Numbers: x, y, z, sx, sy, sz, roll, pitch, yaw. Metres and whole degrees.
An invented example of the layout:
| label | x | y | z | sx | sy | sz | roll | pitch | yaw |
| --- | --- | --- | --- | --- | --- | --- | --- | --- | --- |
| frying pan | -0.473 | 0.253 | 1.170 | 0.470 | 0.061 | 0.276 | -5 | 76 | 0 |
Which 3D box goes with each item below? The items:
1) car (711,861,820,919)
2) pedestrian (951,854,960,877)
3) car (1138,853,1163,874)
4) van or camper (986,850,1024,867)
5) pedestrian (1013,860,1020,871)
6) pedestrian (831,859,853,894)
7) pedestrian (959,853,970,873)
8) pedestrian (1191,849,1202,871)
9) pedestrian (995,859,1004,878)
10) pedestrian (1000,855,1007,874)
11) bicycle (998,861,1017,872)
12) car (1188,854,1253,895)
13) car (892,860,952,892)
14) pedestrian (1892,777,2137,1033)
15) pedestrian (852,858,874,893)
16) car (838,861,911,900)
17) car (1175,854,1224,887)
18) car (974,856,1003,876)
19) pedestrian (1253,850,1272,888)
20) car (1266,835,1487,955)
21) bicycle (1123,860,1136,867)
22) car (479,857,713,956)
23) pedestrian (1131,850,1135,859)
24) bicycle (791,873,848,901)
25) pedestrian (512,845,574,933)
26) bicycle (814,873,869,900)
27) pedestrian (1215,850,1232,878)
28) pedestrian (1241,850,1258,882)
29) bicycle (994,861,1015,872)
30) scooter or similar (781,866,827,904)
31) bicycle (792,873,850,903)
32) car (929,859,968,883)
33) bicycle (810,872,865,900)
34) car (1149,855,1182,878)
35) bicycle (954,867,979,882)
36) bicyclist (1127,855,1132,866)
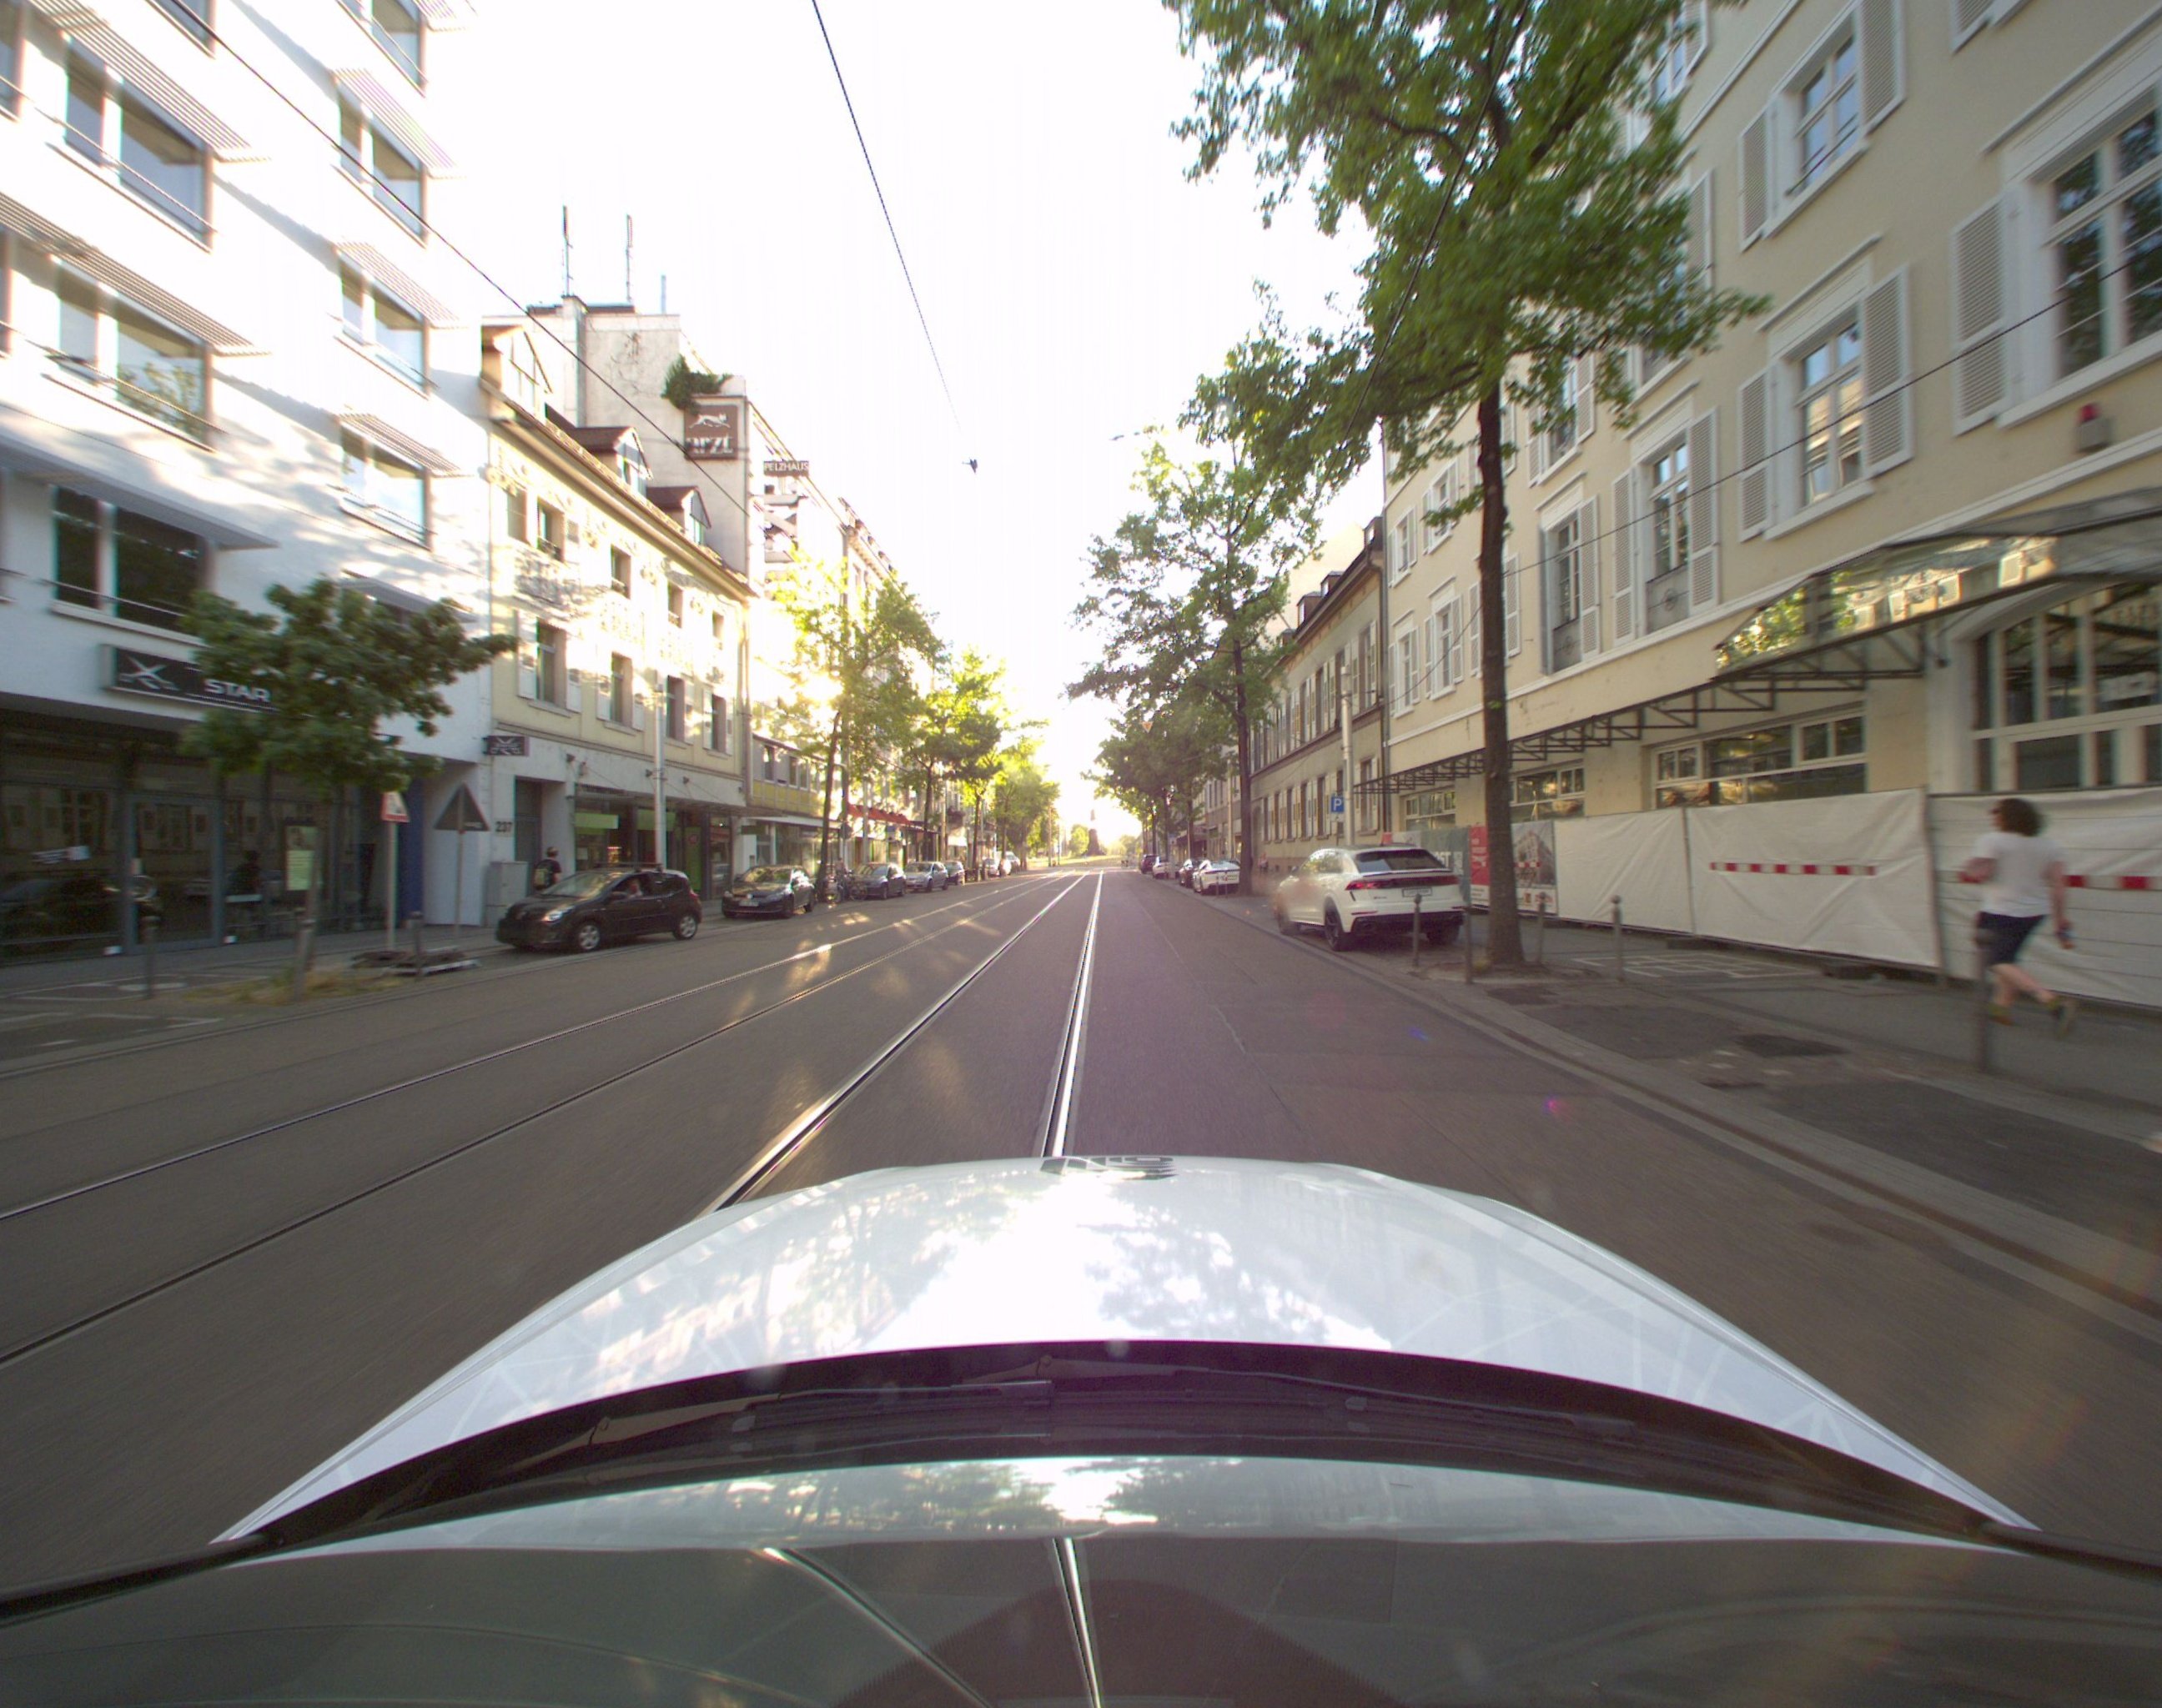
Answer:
| label | x | y | z | sx | sy | sz | roll | pitch | yaw |
| --- | --- | --- | --- | --- | --- | --- | --- | --- | --- |
| car | -9.040 | 0.981 | 23.736 | 1.789 | 1.490 | 4.235 | 1 | 0 | -5 |
| pedestrian | -10.922 | 0.977 | 70.878 | 0.719 | 2.014 | 0.643 | -1 | 0 | 1 |
| car | 6.436 | 0.879 | 76.290 | 1.931 | 1.759 | 4.681 | -4 | 0 | 1 |
| van or camper | -11.556 | 0.673 | 123.288 | 2.629 | 2.472 | 6.246 | -1 | 0 | -39 |
| pedestrian | -7.445 | 1.283 | 93.718 | 0.726 | 1.290 | 0.856 | 0 | 0 | -1 |
| pedestrian | -11.814 | 1.090 | 40.219 | 0.786 | 1.693 | 0.914 | -1 | 0 | 1 |
| pedestrian | -10.147 | 0.767 | 70.861 | 0.719 | 1.760 | 1.090 | -1 | 0 | 1 |
| pedestrian | 8.983 | 0.457 | 63.377 | 0.641 | 1.670 | 0.786 | -4 | 0 | 1 |
| pedestrian | -6.745 | 1.209 | 67.351 | 0.617 | 1.509 | 0.730 | -1 | -1 | 2 |
| pedestrian | -6.482 | 0.901 | 68.147 | 0.519 | 1.569 | 0.634 | -1 | -1 | 2 |
| bicycle | -7.904 | 1.373 | 87.428 | 2.014 | 1.105 | 0.501 | 1 | -1 | 4 |
| car | 5.556 | 0.774 | 33.025 | 1.905 | 1.420 | 4.890 | -3 | 0 | 2 |
| car | -7.786 | 1.040 | 40.253 | 1.758 | 1.497 | 4.182 | -1 | -1 | 6 |
| pedestrian | 7.485 | 0.380 | 6.599 | 0.710 | 1.886 | 1.053 | -2 | 0 | 1 |
| pedestrian | -10.789 | 1.079 | 40.372 | 0.841 | 1.693 | 0.740 | -1 | 0 | 0 |
| car | -8.431 | 1.027 | 33.644 | 1.705 | 1.461 | 4.488 | 1 | 0 | 2 |
| car | 5.987 | 0.800 | 41.577 | 1.826 | 1.478 | 4.762 | -3 | 0 | 1 |
| car | -7.936 | 1.019 | 70.509 | 1.829 | 1.580 | 4.118 | 3 | 0 | 2 |
| pedestrian | 7.528 | 0.619 | 33.804 | 0.646 | 1.573 | 0.799 | -1 | 0 | 1 |
| car | 4.986 | 0.640 | 14.662 | 1.992 | 1.688 | 4.964 | -3 | -1 | -2 |
| bicycle | 6.331 | 1.248 | 106.525 | 1.725 | 0.864 | 0.367 | -1 | 0 | 1 |
| car | -9.089 | 0.892 | 15.635 | 1.618 | 1.616 | 3.724 | 1 | 0 | 16 |
| pedestrian | 9.096 | 0.092 | 142.181 | 0.634 | 1.606 | 0.771 | -1 | 0 | -1 |
| bicycle | -9.563 | 1.199 | 29.831 | 1.961 | 1.001 | 0.420 | -1 | -1 | 5 |
| pedestrian | -11.470 | 0.730 | 17.392 | 0.657 | 1.825 | 0.879 | 2 | 0 | 2 |
| bicycle | -8.885 | 1.206 | 30.261 | 1.962 | 1.001 | 0.331 | -1 | -1 | 3 |
| pedestrian | 9.566 | 0.670 | 54.751 | 0.855 | 1.753 | 0.933 | -4 | 0 | 1 |
| pedestrian | 9.161 | 0.640 | 44.247 | 0.655 | 1.665 | 0.888 | -3 | -1 | 1 |
| bicycle | -7.968 | 1.333 | 84.737 | 2.117 | 1.105 | 0.497 | 1 | -1 | -24 |
| scooter or similar | -9.403 | 1.053 | 27.671 | 1.412 | 1.270 | 0.375 | 1 | 0 | 5 |
| bicycle | -9.115 | 1.189 | 28.571 | 1.962 | 1.001 | 0.331 | -1 | -1 | 3 |
| car | -8.212 | 1.032 | 50.809 | 1.660 | 1.428 | 3.828 | 2 | 0 | 1 |
| bicycle | -9.173 | 1.211 | 30.653 | 1.962 | 1.001 | 0.331 | -1 | -1 | 3 |
| car | 6.111 | 0.865 | 59.120 | 1.986 | 1.498 | 4.682 | -4 | 0 | 2 |
| bicycle | -7.746 | 1.368 | 55.044 | 1.607 | 0.965 | 0.433 | 1 | 0 | 6 |
| bicyclist | 6.331 | 0.796 | 106.538 | 0.534 | 1.438 | 0.367 | -1 | 0 | 1 |
